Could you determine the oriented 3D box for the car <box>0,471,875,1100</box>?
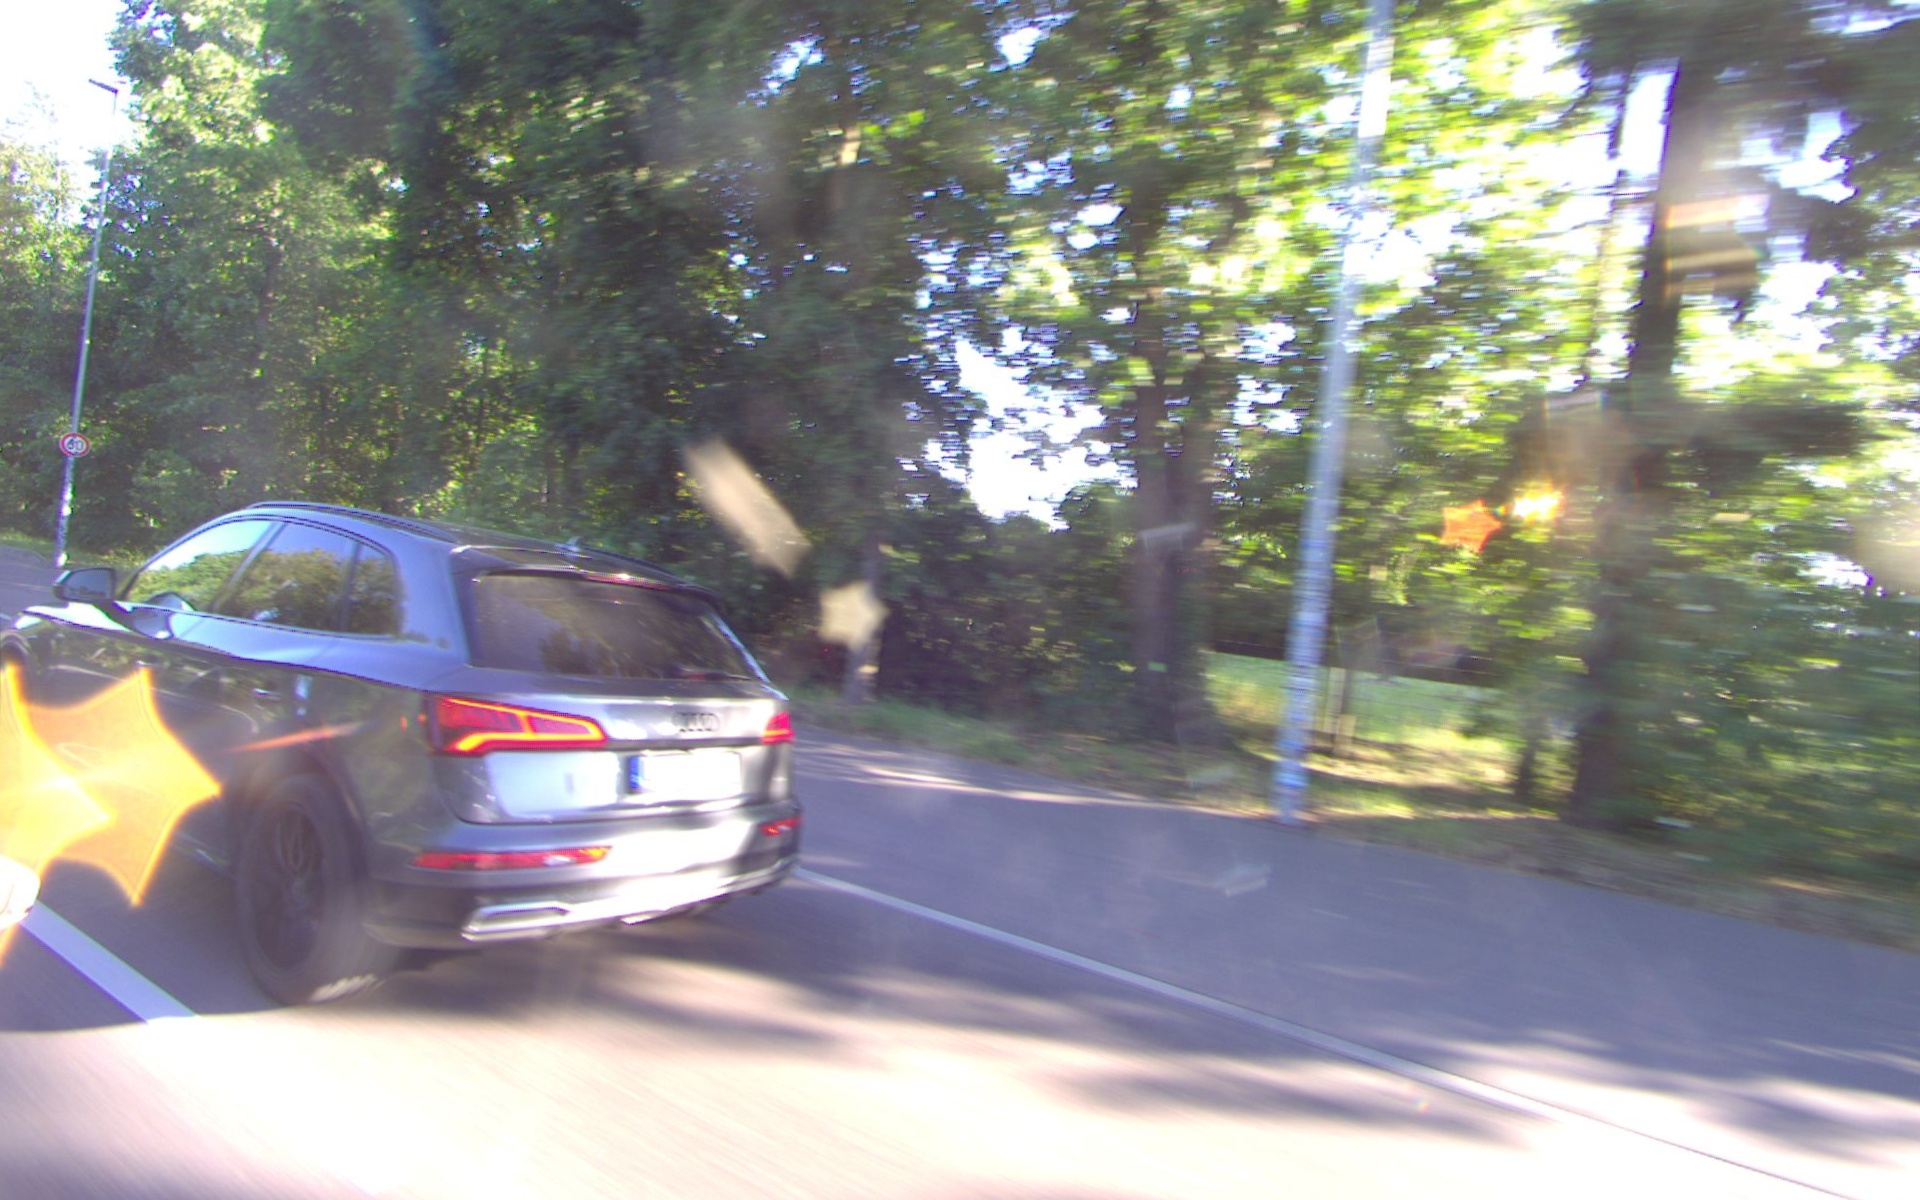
[{"bbox_3d":[-2.833,0.429,4.771,4.469,1.625,1.895,7,-1,32],"label":"car"}]
